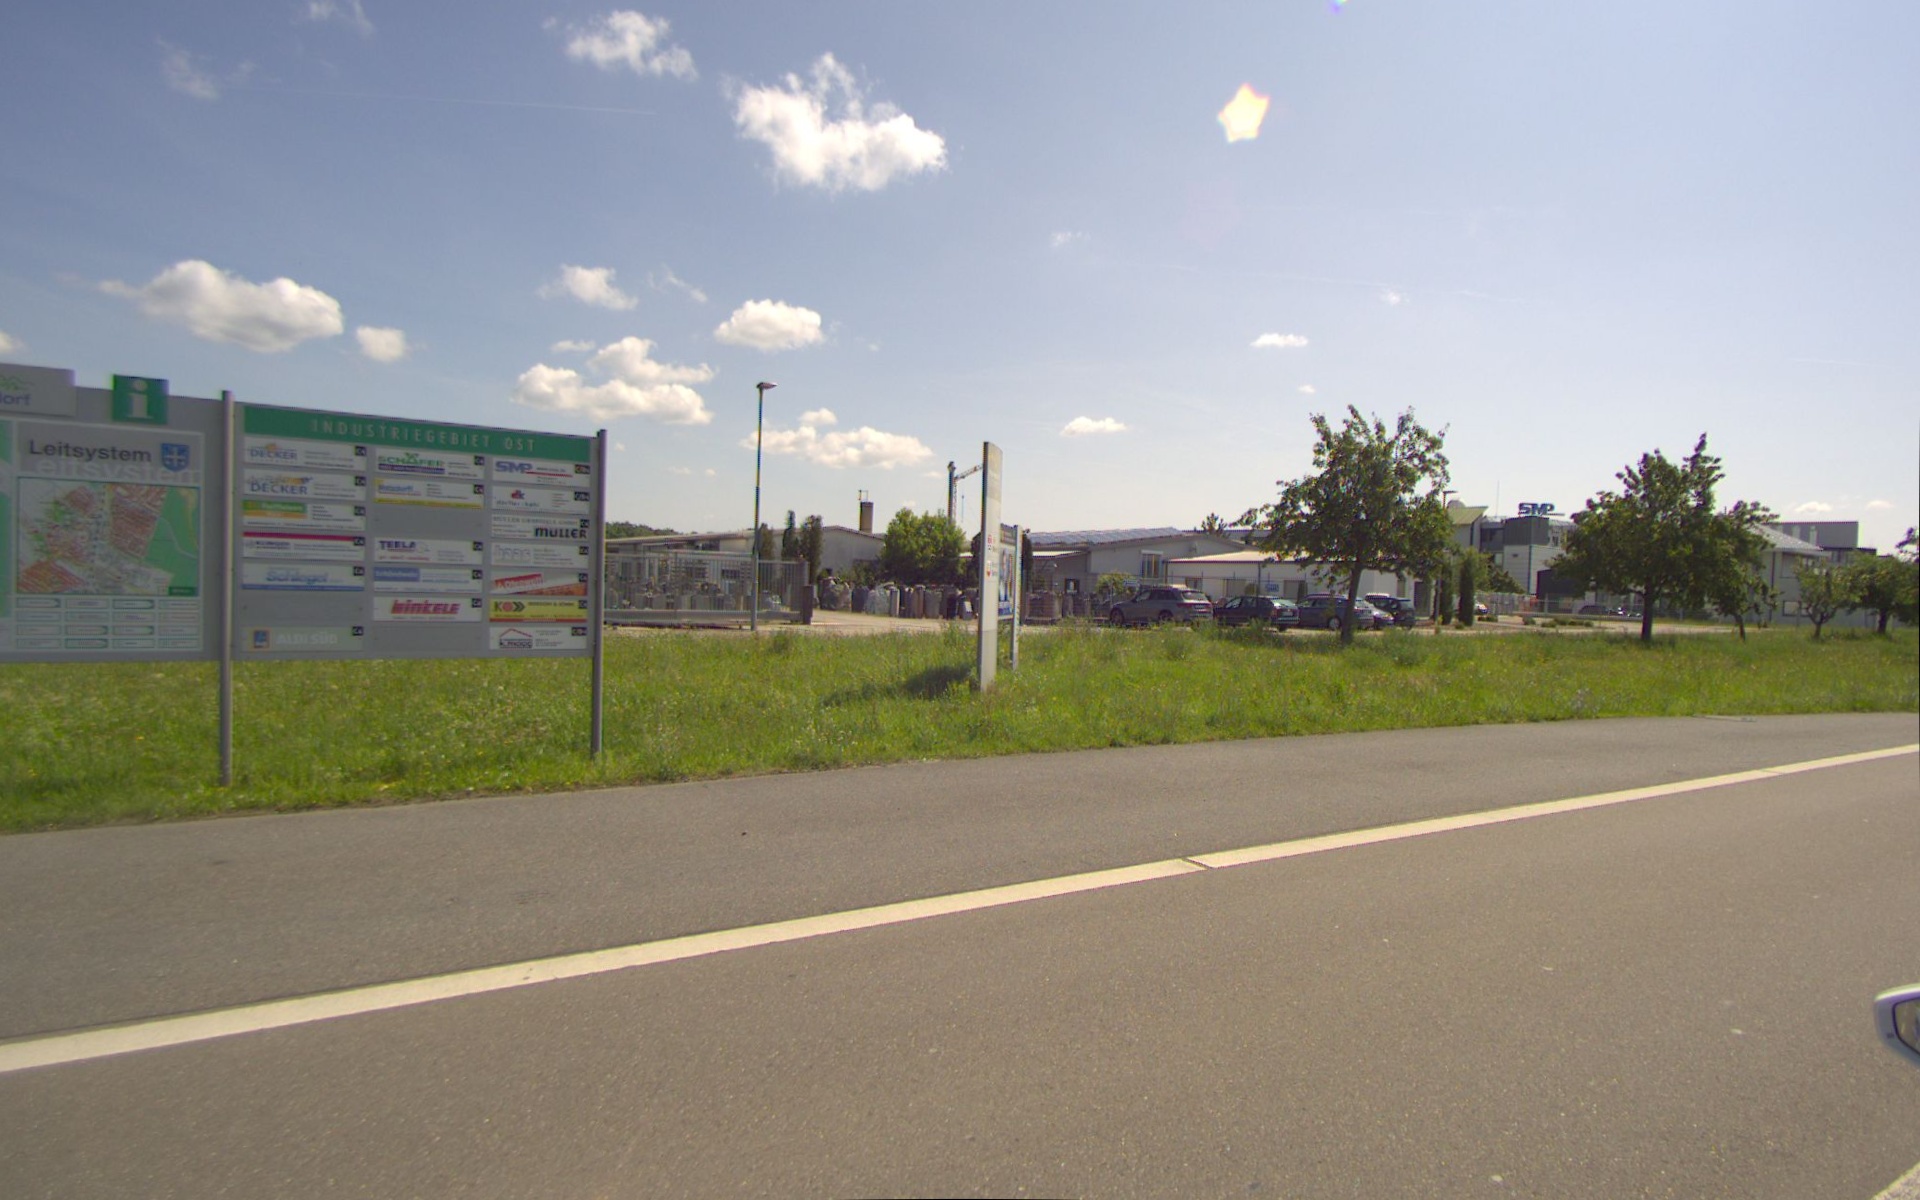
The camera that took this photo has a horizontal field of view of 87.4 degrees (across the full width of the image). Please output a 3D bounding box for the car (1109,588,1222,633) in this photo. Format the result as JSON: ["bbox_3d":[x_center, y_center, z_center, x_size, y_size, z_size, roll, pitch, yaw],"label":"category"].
[{"bbox_3d":[7.892,0.372,38.905,1.981,1.548,3.958,1,2,-36],"label":"car"}]

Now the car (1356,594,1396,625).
[{"bbox_3d":[24.169,0.514,58.252,1.962,1.662,4.167,3,1,24],"label":"car"}]

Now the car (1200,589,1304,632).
[{"bbox_3d":[12.109,0.405,41.900,1.650,1.576,3.959,1,2,-36],"label":"car"}]

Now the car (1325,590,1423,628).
[{"bbox_3d":[20.154,0.417,48.990,1.981,1.662,3.958,1,2,-36],"label":"car"}]

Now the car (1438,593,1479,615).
[{"bbox_3d":[49.364,0.425,99.475,4.706,2.041,1.975,1,2,-42],"label":"car"}]

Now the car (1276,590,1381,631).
[{"bbox_3d":[16.539,0.457,45.246,1.981,1.662,3.958,1,2,-36],"label":"car"}]

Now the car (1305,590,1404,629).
[{"bbox_3d":[18.532,0.427,47.293,1.840,1.662,3.958,1,2,-36],"label":"car"}]
